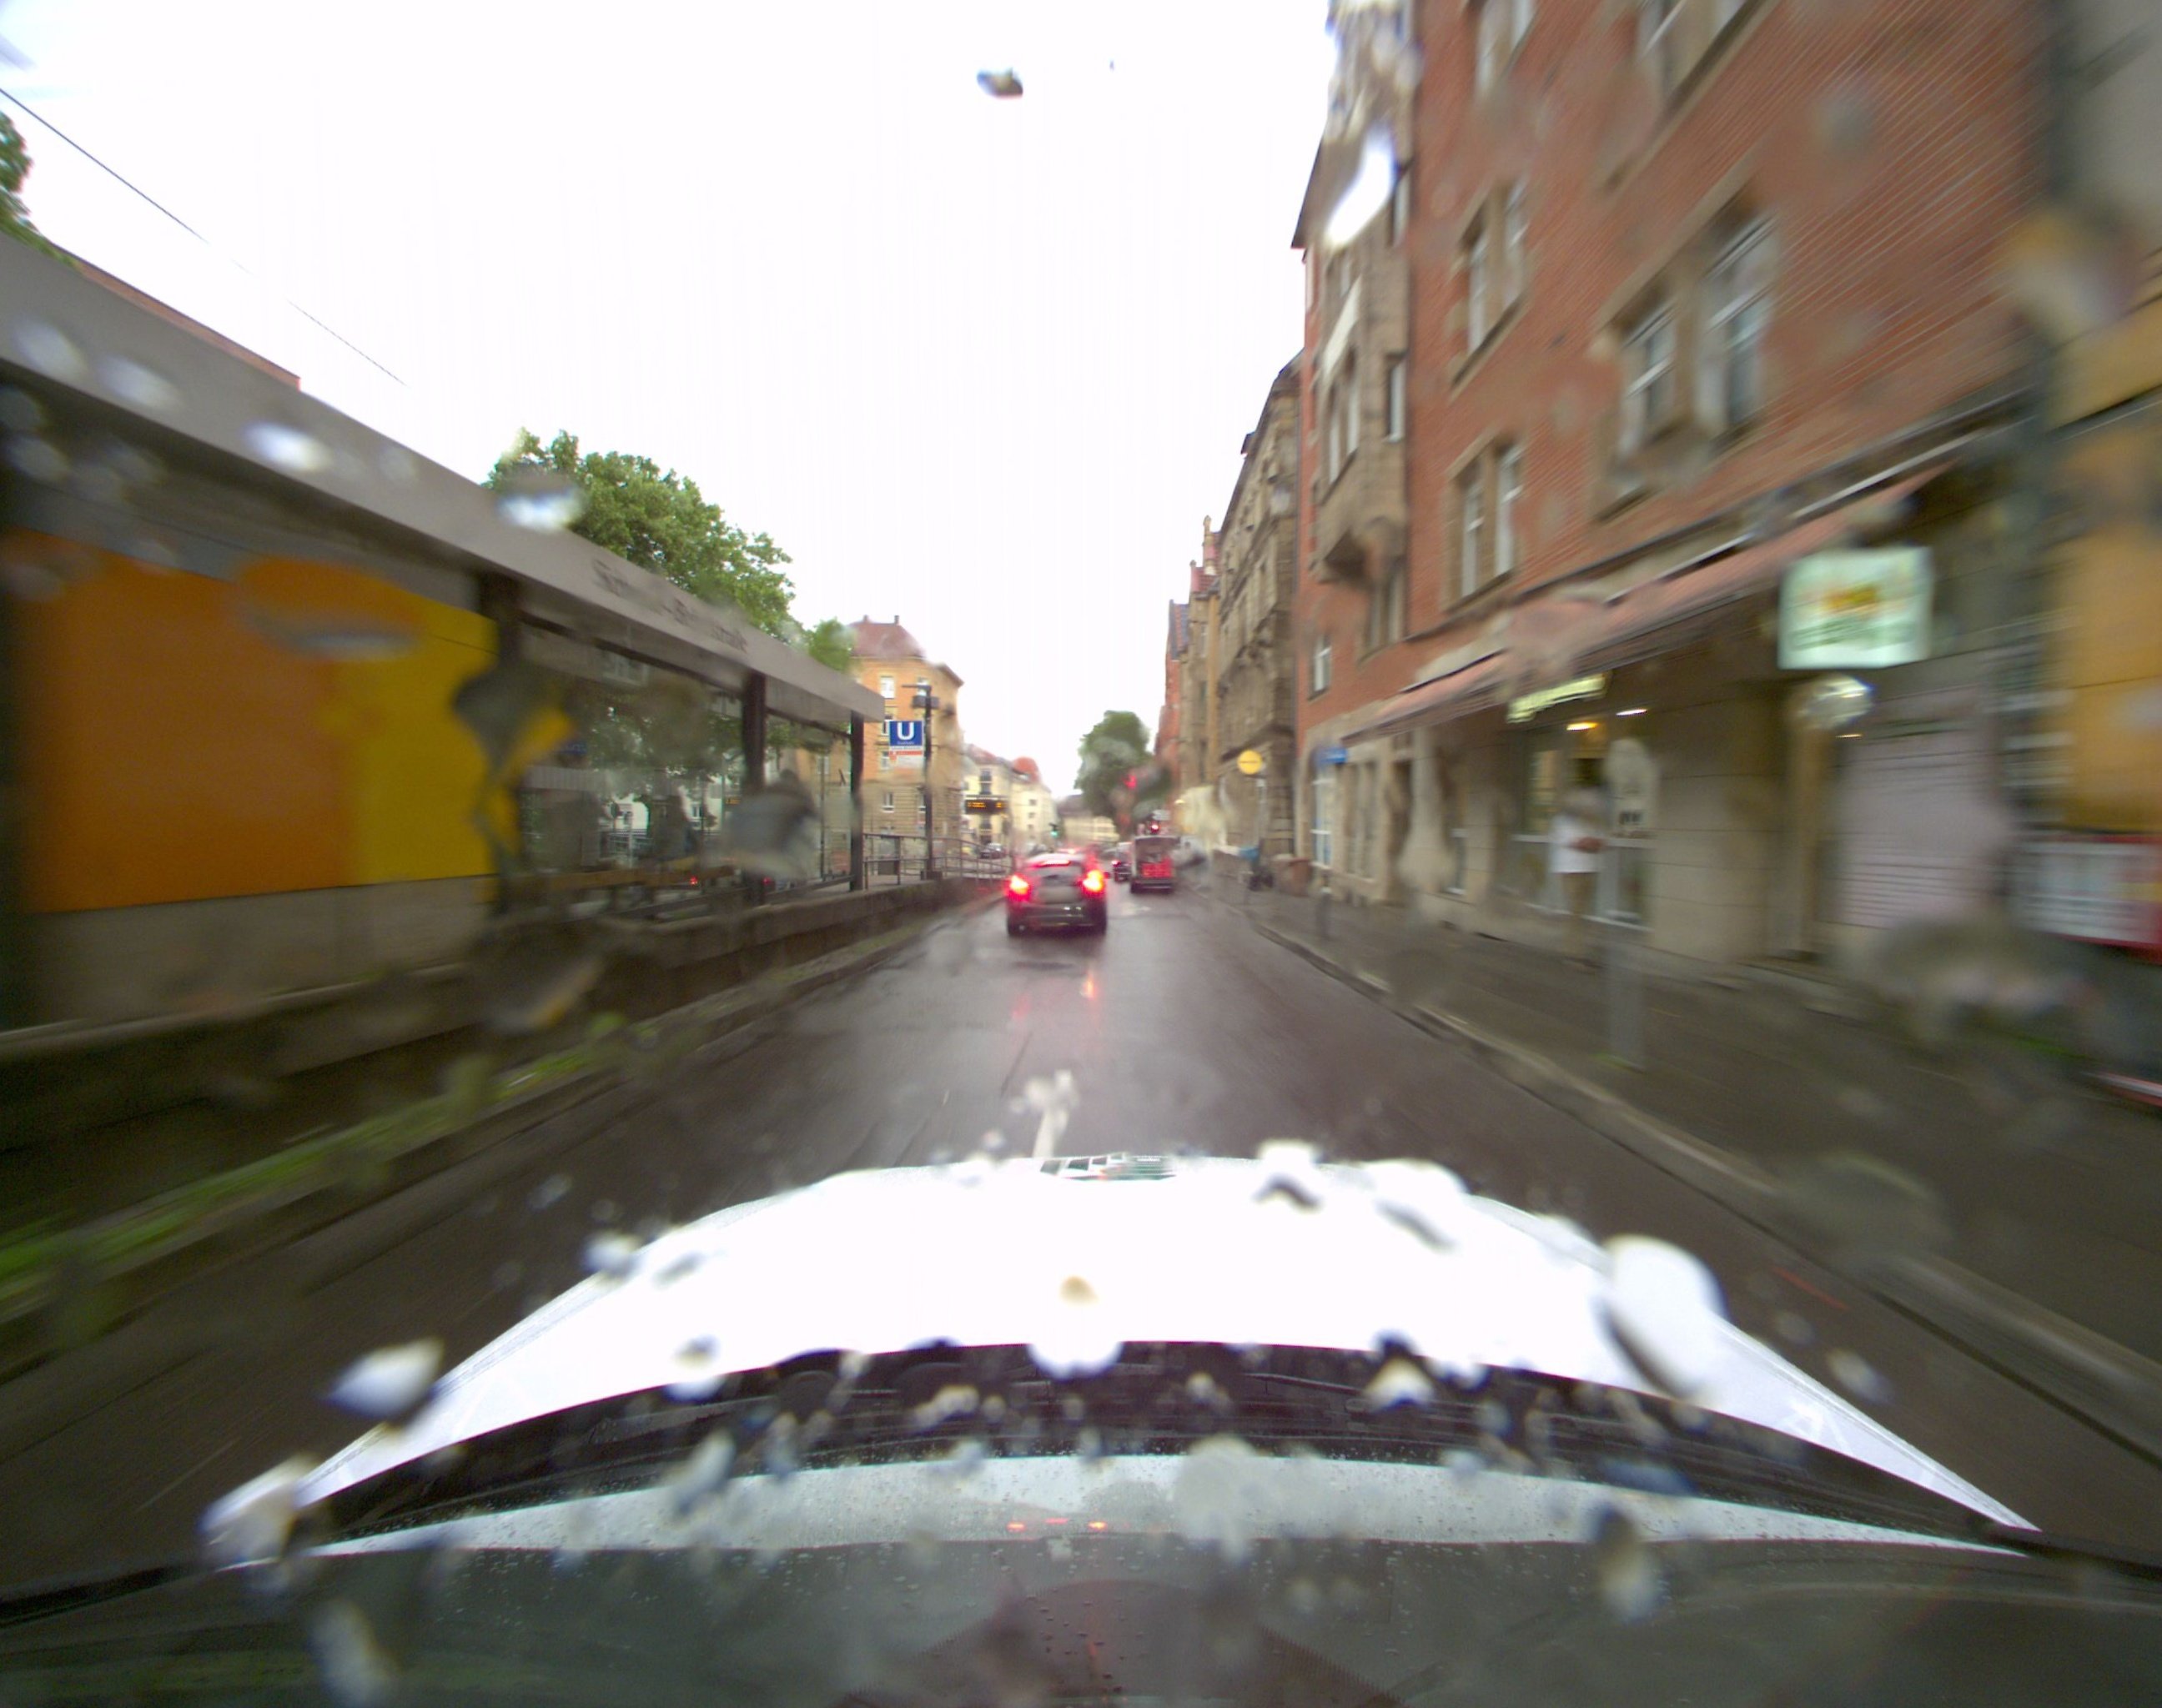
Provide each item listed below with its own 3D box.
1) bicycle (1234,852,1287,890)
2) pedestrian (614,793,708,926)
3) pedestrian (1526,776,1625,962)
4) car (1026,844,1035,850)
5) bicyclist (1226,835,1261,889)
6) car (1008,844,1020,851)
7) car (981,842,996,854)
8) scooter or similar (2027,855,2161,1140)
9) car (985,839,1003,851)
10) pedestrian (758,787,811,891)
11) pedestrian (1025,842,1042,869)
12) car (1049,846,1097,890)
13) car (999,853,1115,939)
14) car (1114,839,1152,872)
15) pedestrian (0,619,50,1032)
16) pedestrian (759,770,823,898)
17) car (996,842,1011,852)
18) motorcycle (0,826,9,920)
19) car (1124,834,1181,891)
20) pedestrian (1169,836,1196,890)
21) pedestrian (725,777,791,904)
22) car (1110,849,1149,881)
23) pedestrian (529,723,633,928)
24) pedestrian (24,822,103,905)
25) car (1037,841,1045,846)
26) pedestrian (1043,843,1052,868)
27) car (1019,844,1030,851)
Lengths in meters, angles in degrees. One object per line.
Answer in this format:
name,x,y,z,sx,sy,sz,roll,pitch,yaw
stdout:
bicycle,5.577,0.506,25.268,1.693,1.115,0.461,-1,0,-27
pedestrian,-3.975,0.046,7.740,0.610,1.227,0.508,0,1,5
pedestrian,5.103,0.145,8.431,0.576,1.830,0.563,-3,0,0
car,-9.698,-1.349,157.520,1.389,1.171,3.164,0,1,3
bicyclist,5.115,0.232,25.582,0.851,1.657,0.627,-1,0,-23
car,-10.454,-0.973,126.459,1.431,1.106,3.164,0,1,3
car,-11.424,-0.758,100.926,1.446,1.318,3.296,1,1,1
scooter or similar,4.815,0.630,3.522,0.256,1.221,1.199,1,1,12
car,-11.444,-1.148,107.589,1.780,1.530,4.464,0,1,1
pedestrian,-4.590,-0.236,12.615,0.610,1.581,0.508,0,1,5
pedestrian,-3.029,0.084,51.789,0.745,1.724,0.732,0,1,-41
car,-0.247,0.480,30.367,1.674,1.489,3.613,-1,1,0
car,-0.331,0.702,15.774,1.887,1.390,4.004,0,1,3
car,2.959,0.051,47.137,1.927,1.831,4.280,0,1,0
pedestrian,-4.494,-0.109,3.049,0.491,1.605,0.640,0,1,19
pedestrian,-3.901,-0.268,10.987,0.610,1.688,0.588,0,1,6
car,-10.822,-1.017,113.813,1.673,1.356,3.706,0,1,3
motorcycle,-22.401,0.364,15.364,3.026,1.815,0.993,1,1,0
car,2.555,0.250,29.838,1.912,1.935,4.690,0,1,3
pedestrian,3.356,0.300,26.878,0.828,1.753,0.689,-1,0,9
pedestrian,-4.134,-0.178,10.439,0.610,1.581,0.508,0,1,5
car,2.427,0.502,39.965,1.705,1.469,4.288,0,1,6
pedestrian,-4.025,-0.225,6.585,0.503,1.589,0.528,0,1,2
pedestrian,-25.165,0.225,20.158,0.728,2.013,0.983,0,1,8
car,-8.768,-2.264,179.270,1.389,1.171,3.164,0,1,3
pedestrian,-2.103,0.099,51.642,0.531,1.530,0.436,0,1,-6
car,-9.689,-1.116,139.830,1.389,1.171,3.164,0,1,3
